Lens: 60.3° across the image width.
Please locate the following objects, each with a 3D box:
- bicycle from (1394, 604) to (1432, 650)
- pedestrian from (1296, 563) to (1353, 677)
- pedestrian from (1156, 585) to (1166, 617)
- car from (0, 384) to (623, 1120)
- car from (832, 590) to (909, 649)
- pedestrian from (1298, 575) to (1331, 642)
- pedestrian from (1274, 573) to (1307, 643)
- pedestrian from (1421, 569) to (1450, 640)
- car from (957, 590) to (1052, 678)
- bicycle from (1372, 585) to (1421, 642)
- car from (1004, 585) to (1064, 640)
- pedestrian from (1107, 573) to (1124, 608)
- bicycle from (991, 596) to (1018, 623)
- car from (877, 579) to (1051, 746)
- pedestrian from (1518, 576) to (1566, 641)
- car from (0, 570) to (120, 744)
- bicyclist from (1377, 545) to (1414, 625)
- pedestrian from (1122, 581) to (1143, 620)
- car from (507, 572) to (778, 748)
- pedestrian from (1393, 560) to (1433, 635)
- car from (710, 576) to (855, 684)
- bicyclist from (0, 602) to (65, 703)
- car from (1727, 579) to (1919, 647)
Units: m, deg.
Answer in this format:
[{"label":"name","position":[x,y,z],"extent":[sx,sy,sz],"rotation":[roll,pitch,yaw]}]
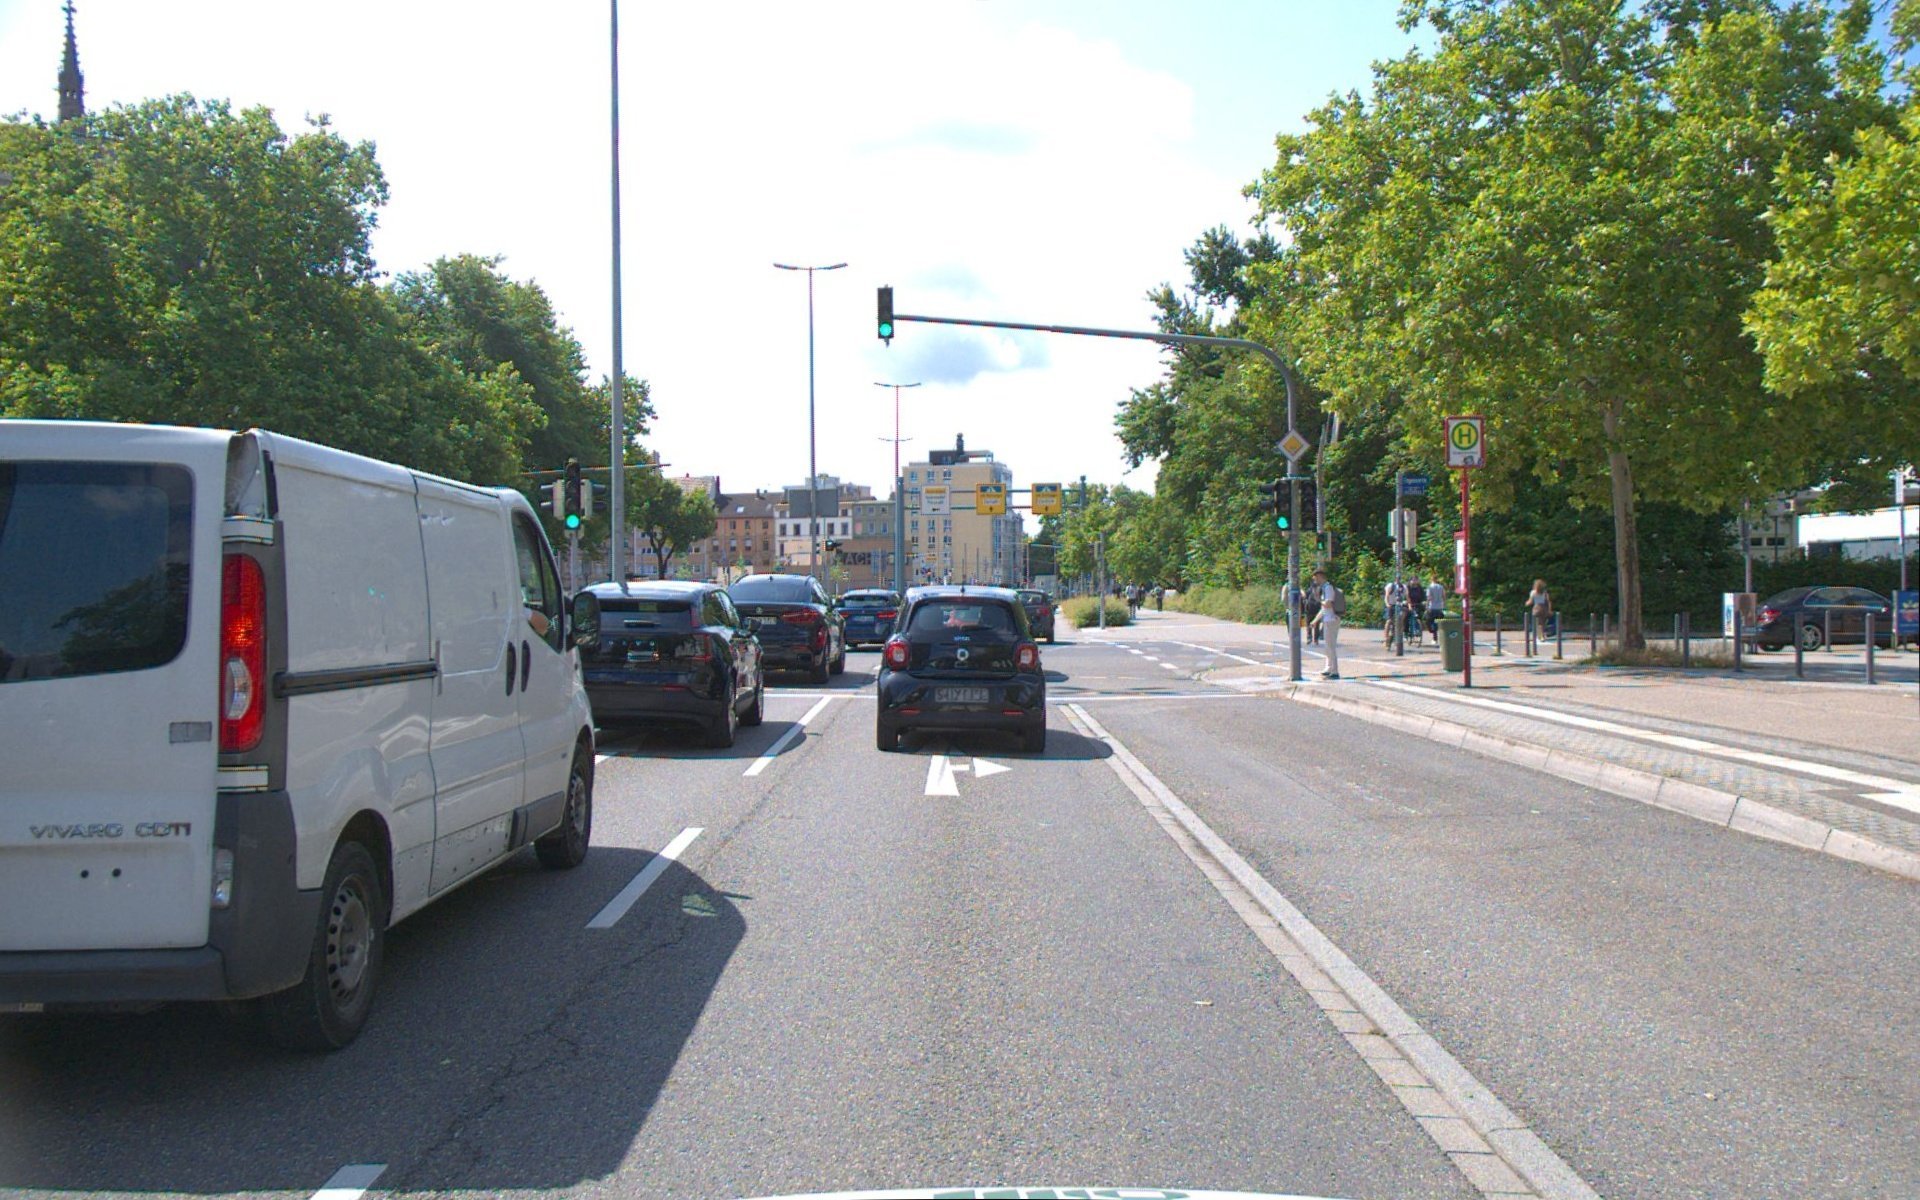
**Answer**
[{"label":"bicycle","position":[11.464,0.665,41.874],"extent":[0.798,1.091,1.893],"rotation":[0,1,11]},{"label":"pedestrian","position":[5.960,0.327,27.035],"extent":[0.589,1.832,0.603],"rotation":[-3,0,-37]},{"label":"pedestrian","position":[12.081,0.070,99.540],"extent":[0.491,1.923,0.560],"rotation":[1,-1,-1]},{"label":"car","position":[-2.901,0.401,7.062],"extent":[1.965,1.989,5.192],"rotation":[0,0,-1]},{"label":"car","position":[-2.125,0.437,40.031],"extent":[1.578,1.348,3.518],"rotation":[0,0,1]},{"label":"pedestrian","position":[9.275,0.210,43.283],"extent":[0.778,1.734,1.183],"rotation":[0,1,10]},{"label":"pedestrian","position":[8.403,0.190,42.083],"extent":[0.778,1.734,1.183],"rotation":[0,1,10]},{"label":"pedestrian","position":[12.506,0.118,43.468],"extent":[0.656,1.852,0.704],"rotation":[0,1,9]},{"label":"car","position":[0.797,0.557,29.554],"extent":[1.578,1.436,3.518],"rotation":[1,0,1]},{"label":"bicycle","position":[10.415,0.326,39.532],"extent":[0.647,1.319,1.874],"rotation":[1,0,-1]},{"label":"car","position":[2.015,0.312,45.879],"extent":[1.578,1.436,3.518],"rotation":[1,0,1]},{"label":"pedestrian","position":[8.808,-0.534,93.618],"extent":[0.821,2.003,0.861],"rotation":[-1,0,0]},{"label":"bicycle","position":[3.403,0.740,127.196],"extent":[1.953,2.049,3.999],"rotation":[1,0,-1]},{"label":"car","position":[0.081,0.571,16.893],"extent":[1.578,1.511,3.518],"rotation":[1,0,1]},{"label":"pedestrian","position":[15.223,0.216,43.249],"extent":[0.837,1.654,1.020],"rotation":[-2,2,-3]},{"label":"car","position":[-11.102,0.632,18.101],"extent":[1.691,1.843,4.727],"rotation":[-2,0,-5]},{"label":"bicyclist","position":[10.428,-0.361,39.600],"extent":[0.647,1.877,0.761],"rotation":[1,-1,-1]},{"label":"pedestrian","position":[7.873,0.026,75.380],"extent":[0.833,1.730,0.931],"rotation":[-2,-1,2]},{"label":"car","position":[-3.089,0.527,17.140],"extent":[1.976,1.557,4.885],"rotation":[0,0,-2]},{"label":"pedestrian","position":[11.458,-0.082,41.888],"extent":[0.835,1.851,1.177],"rotation":[2,1,11]},{"label":"car","position":[-2.820,0.420,27.205],"extent":[1.789,1.629,4.394],"rotation":[0,1,1]},{"label":"bicyclist","position":[-15.417,0.856,27.229],"extent":[0.975,1.644,0.657],"rotation":[0,0,4]},{"label":"car","position":[19.841,0.298,36.704],"extent":[4.832,1.425,1.723],"rotation":[-1,-2,-2]}]
